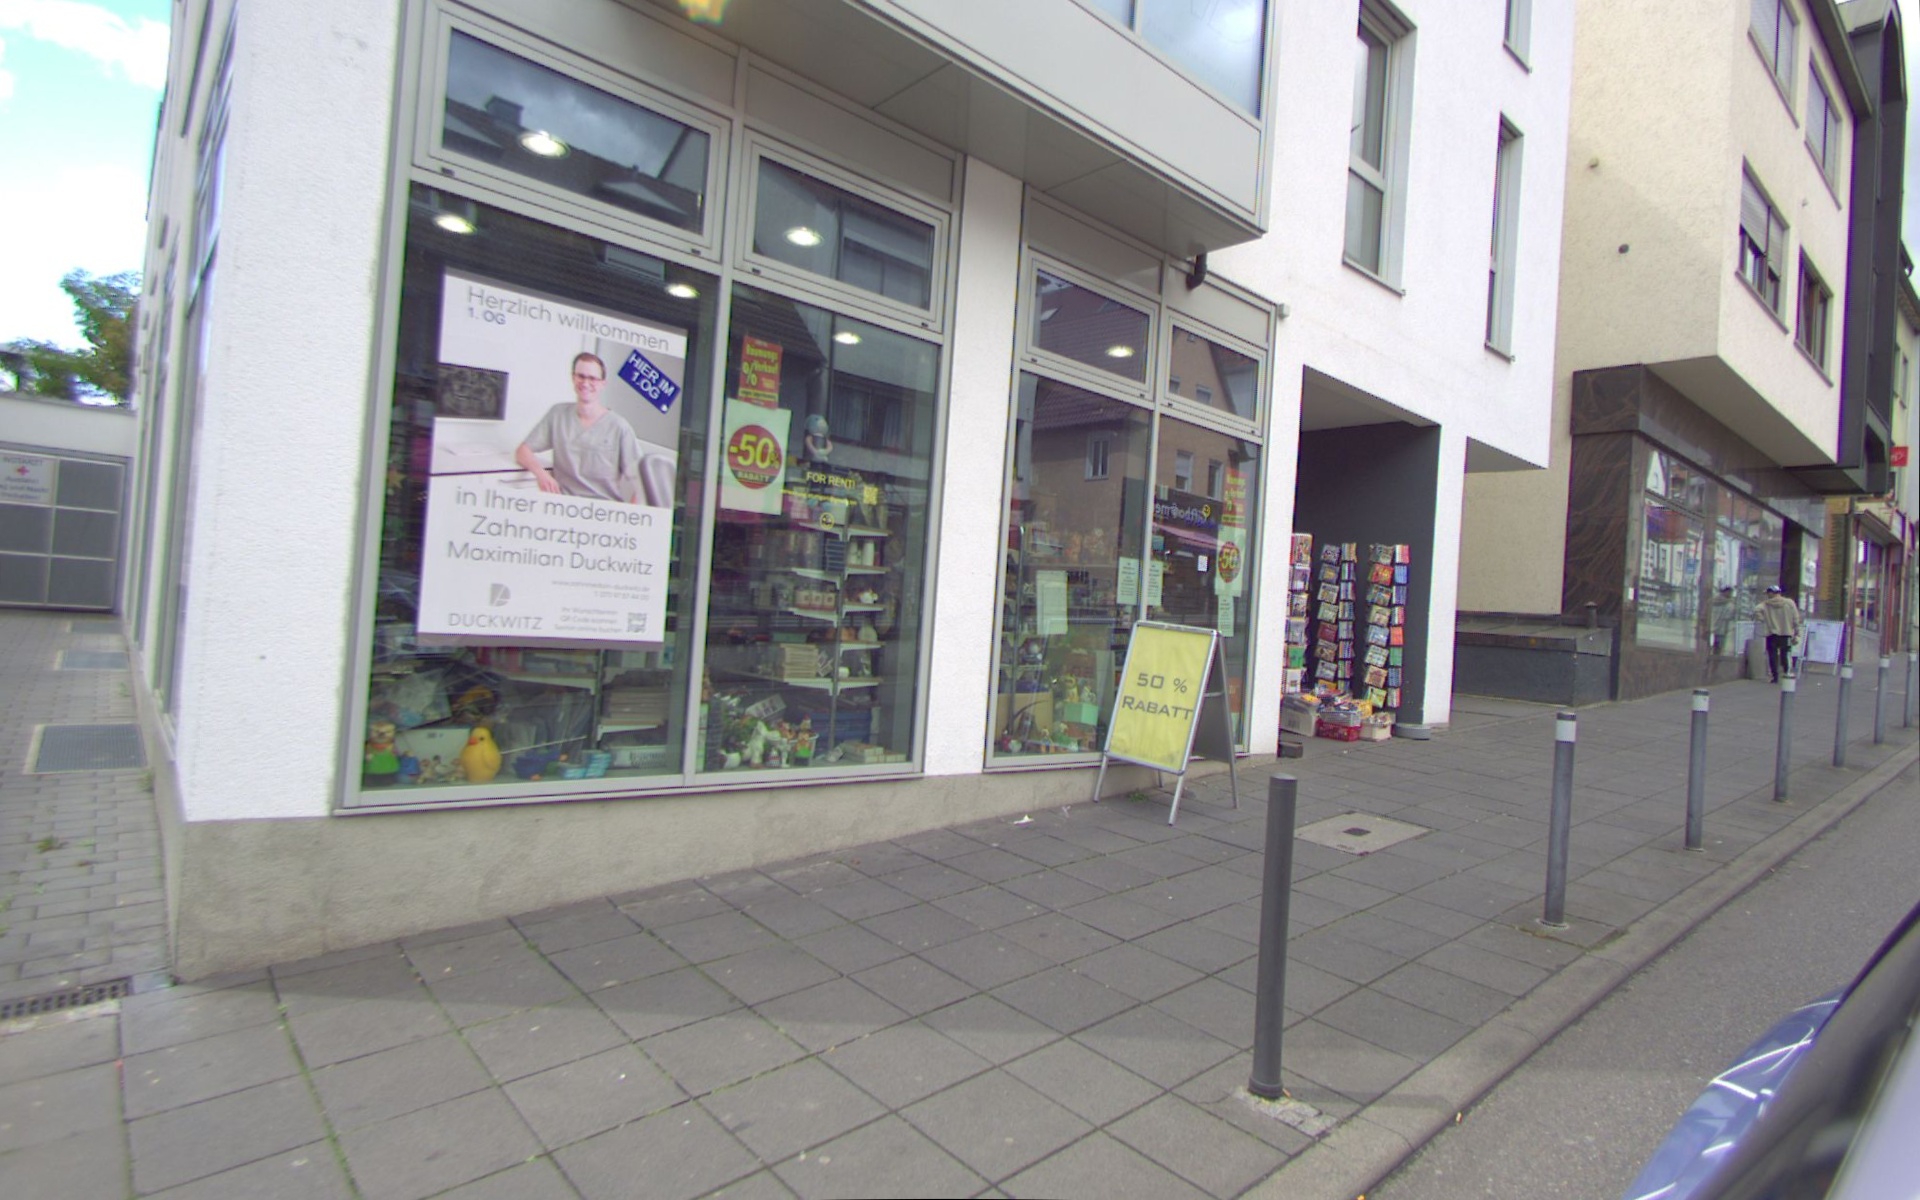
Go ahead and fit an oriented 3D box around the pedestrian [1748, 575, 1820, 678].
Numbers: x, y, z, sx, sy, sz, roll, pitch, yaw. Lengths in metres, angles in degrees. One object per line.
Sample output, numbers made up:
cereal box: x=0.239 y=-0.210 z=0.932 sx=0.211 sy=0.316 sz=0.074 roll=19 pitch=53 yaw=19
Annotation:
pedestrian: x=14.259 y=0.444 z=17.512 sx=0.767 sy=1.693 sz=0.759 roll=1 pitch=4 yaw=-43
